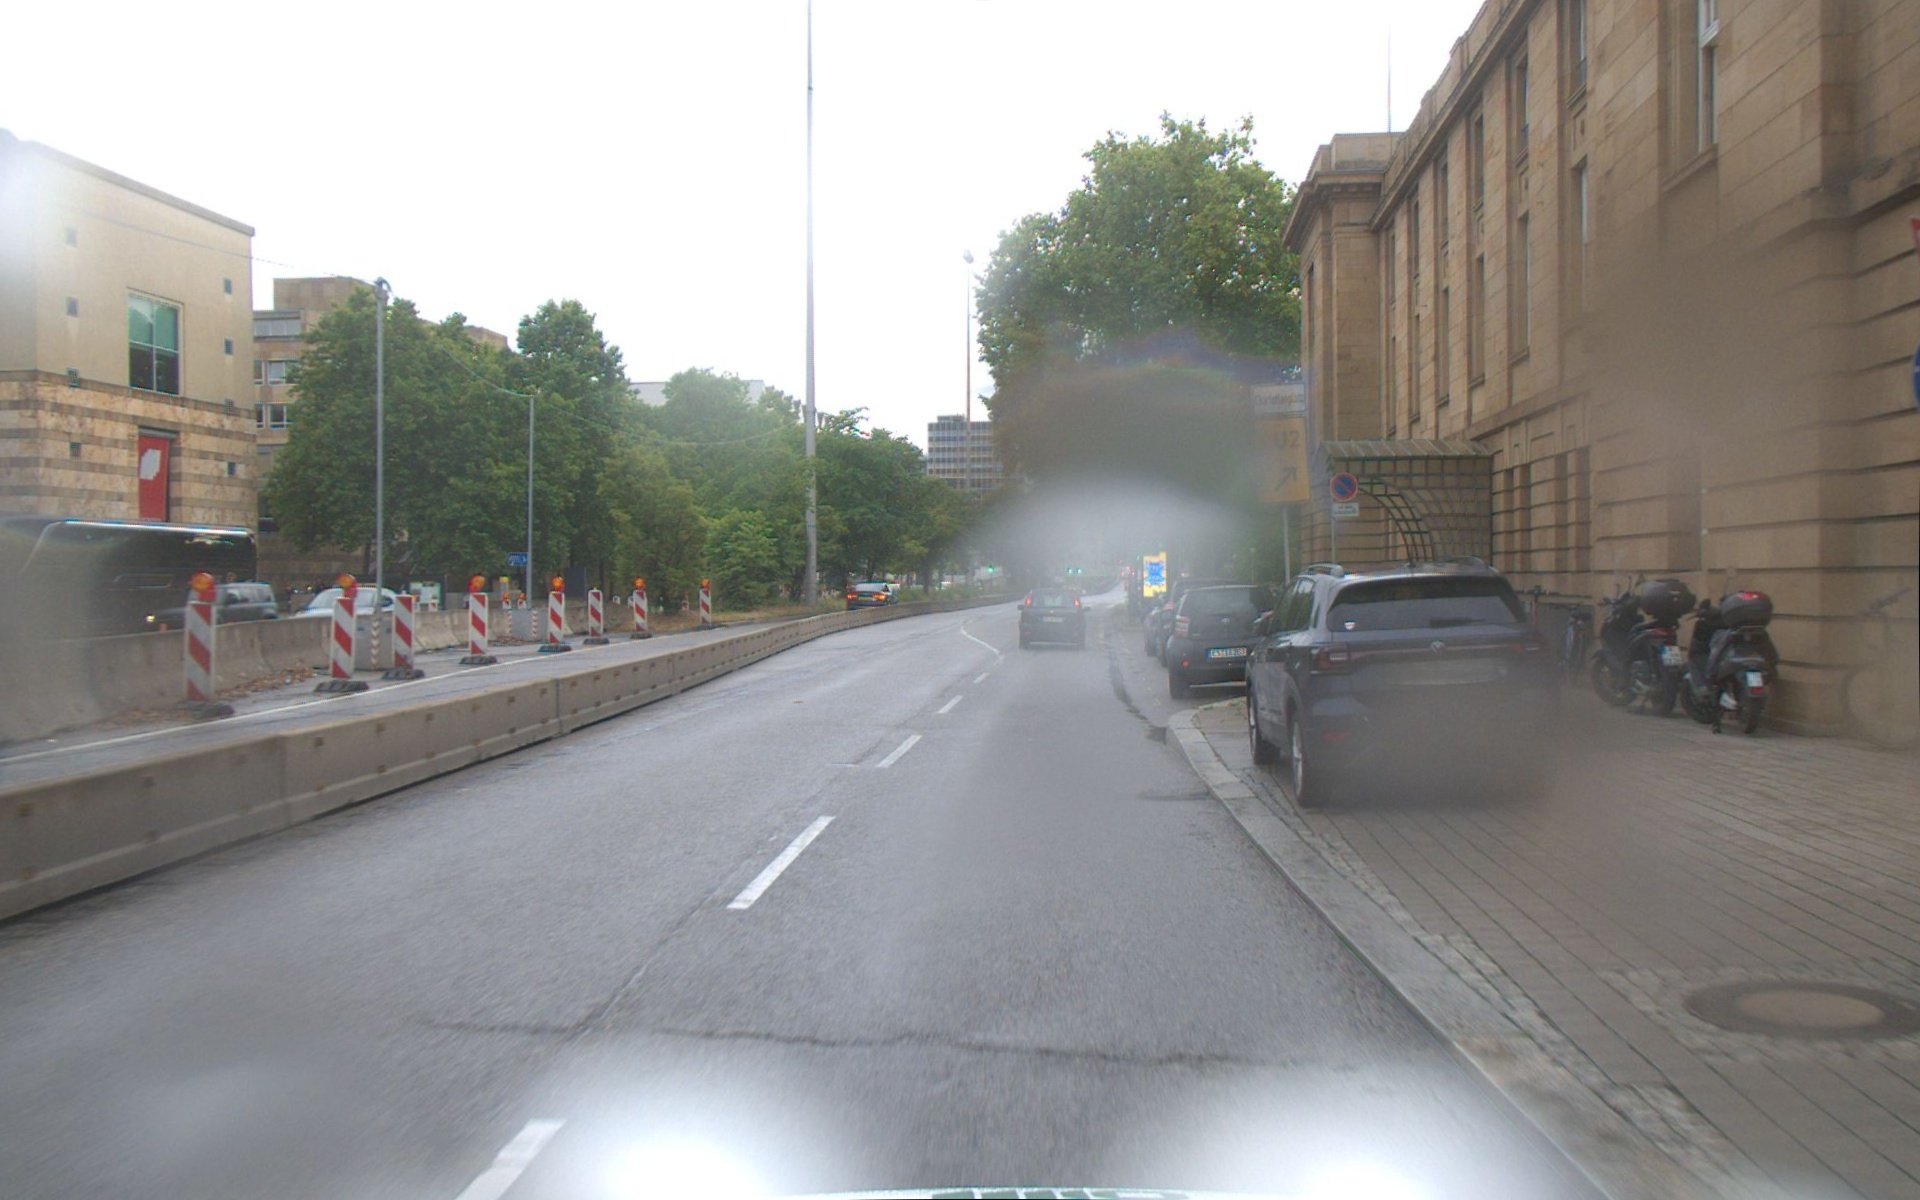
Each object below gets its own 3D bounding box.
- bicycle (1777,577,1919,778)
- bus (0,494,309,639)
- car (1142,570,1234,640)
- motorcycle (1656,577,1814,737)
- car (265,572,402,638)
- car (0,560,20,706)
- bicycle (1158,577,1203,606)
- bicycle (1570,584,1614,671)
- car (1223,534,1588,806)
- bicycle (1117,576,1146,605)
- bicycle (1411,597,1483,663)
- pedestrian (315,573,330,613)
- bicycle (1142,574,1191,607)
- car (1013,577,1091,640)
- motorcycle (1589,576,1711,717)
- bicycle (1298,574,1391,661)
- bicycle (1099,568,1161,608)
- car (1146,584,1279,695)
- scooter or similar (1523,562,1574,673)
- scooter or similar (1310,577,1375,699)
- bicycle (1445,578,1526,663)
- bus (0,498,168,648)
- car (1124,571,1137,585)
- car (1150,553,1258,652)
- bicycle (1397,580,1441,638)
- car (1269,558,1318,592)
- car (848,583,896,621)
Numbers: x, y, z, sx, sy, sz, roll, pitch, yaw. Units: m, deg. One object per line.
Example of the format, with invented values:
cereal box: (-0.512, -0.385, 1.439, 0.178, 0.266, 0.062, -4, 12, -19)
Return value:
bicycle: (6.880, 0.508, 11.924, 1.079, 1.340, 1.859, 0, 1, 1)
bus: (-25.593, -1.088, 51.681, 2.744, 3.877, 14.611, 2, 1, 9)
car: (5.149, 0.080, 37.722, 1.891, 1.504, 3.705, 0, 1, 5)
motorcycle: (6.849, 0.465, 14.713, 0.789, 1.321, 1.800, 0, 0, 9)
car: (-13.945, 0.072, 37.075, 1.740, 1.284, 4.761, 1, 1, -7)
car: (-11.190, 0.398, 16.059, 1.953, 1.556, 3.999, 0, 1, -3)
bicycle: (7.804, -0.315, 58.531, 1.555, 1.011, 0.525, 1, 1, 7)
bicycle: (8.153, 0.329, 21.373, 0.409, 1.068, 1.772, 0, 1, 17)
car: (3.082, 0.386, 12.376, 1.832, 1.647, 4.407, -1, 1, 4)
bicycle: (6.110, -0.342, 58.824, 0.655, 0.984, 1.638, 1, 1, 20)
bicycle: (8.214, 0.490, 27.951, 0.697, 1.070, 1.741, 0, 1, 0)
pedestrian: (-33.422, -0.369, 86.716, 0.467, 2.049, 0.512, -2, 0, 5)
bicycle: (7.050, -0.342, 56.515, 1.643, 1.109, 0.651, 1, 1, 7)
car: (2.254, 0.193, 41.265, 1.806, 1.441, 3.840, -2, 0, 2)
motorcycle: (7.016, 0.432, 16.916, 0.653, 1.349, 2.137, 0, 1, 9)
bicycle: (5.820, 0.240, 25.132, 0.760, 1.240, 1.963, -2, 1, -6)
bicycle: (5.959, -0.423, 58.070, 2.144, 1.359, 0.651, 1, 1, 7)
car: (3.579, 0.498, 23.313, 1.721, 1.439, 3.155, 0, 1, 10)
scooter or similar: (7.911, 0.224, 22.255, 0.404, 1.442, 1.269, 0, 0, 9)
scooter or similar: (4.056, 0.383, 17.583, 0.424, 1.238, 1.122, -2, 0, 2)
bicycle: (8.259, 0.304, 26.046, 0.715, 1.290, 1.759, -1, 1, 0)
bus: (-28.961, -0.841, 48.740, 3.052, 4.326, 13.507, 2, 1, 8)
car: (23.692, -3.035, 230.181, 1.702, 1.802, 4.003, -2, 0, 7)
car: (4.747, 0.026, 32.552, 1.951, 1.812, 4.192, 0, 1, 7)
bicycle: (8.562, 0.158, 30.879, 0.571, 1.056, 1.760, 0, 1, 8)
car: (17.970, -1.376, 89.435, 1.951, 1.637, 5.240, 1, 2, 4)
car: (-3.636, 0.057, 68.994, 1.718, 1.477, 4.001, 1, 1, 1)
